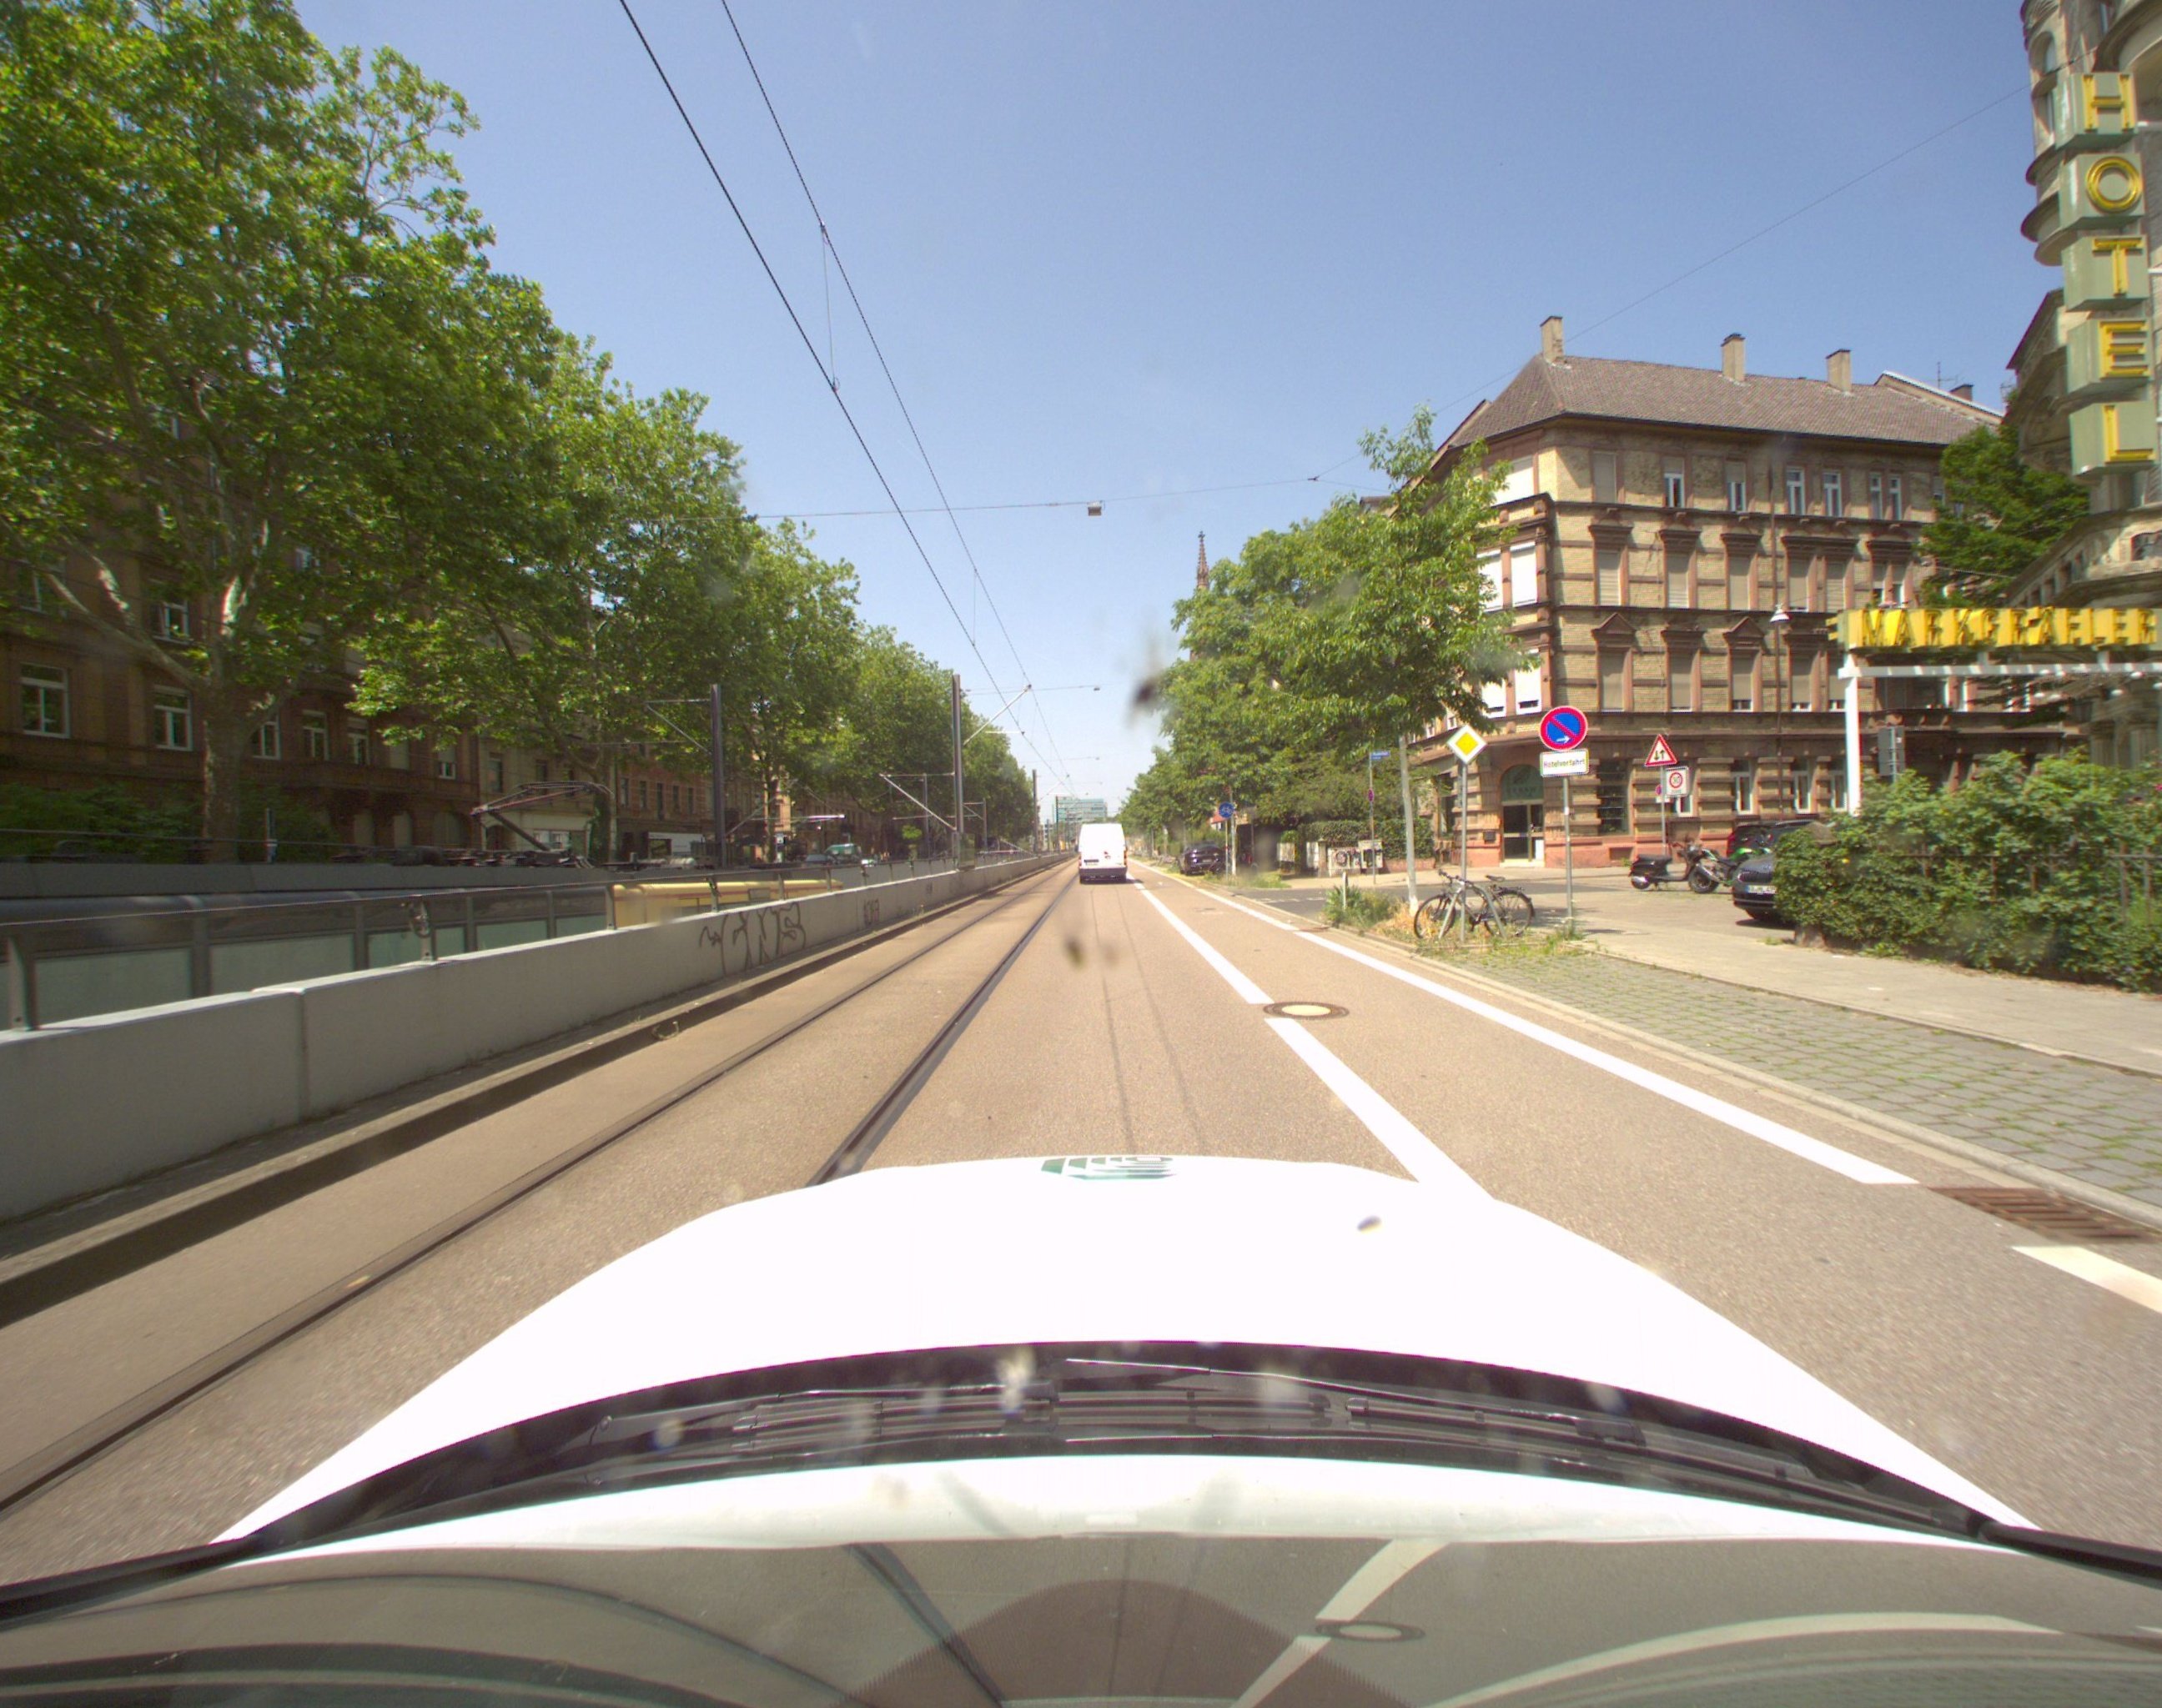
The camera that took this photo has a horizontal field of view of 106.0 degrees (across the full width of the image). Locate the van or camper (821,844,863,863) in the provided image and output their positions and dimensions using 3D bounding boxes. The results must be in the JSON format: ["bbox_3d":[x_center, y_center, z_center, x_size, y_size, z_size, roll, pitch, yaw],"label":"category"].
[{"bbox_3d":[-26.528,-0.085,90.437,3.976,2.013,1.999,-2,0,-2],"label":"van or camper"}]

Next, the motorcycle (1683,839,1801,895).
[{"bbox_3d":[13.628,0.255,16.853,0.525,1.082,1.862,-2,0,-23],"label":"motorcycle"}]

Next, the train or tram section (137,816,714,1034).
[{"bbox_3d":[-9.640,1.014,13.858,2.719,2.509,8.491,-1,-2,2],"label":"train or tram section"}]

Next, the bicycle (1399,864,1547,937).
[{"bbox_3d":[5.555,0.649,11.599,1.835,0.953,0.503,-2,0,2],"label":"bicycle"}]

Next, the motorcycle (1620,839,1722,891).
[{"bbox_3d":[13.508,0.242,18.715,0.511,1.123,1.870,-2,0,-26],"label":"motorcycle"}]

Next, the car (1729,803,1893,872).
[{"bbox_3d":[23.136,-0.514,25.870,3.988,2.013,1.800,-2,0,-11],"label":"car"}]

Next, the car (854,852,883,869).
[{"bbox_3d":[-22.885,0.642,87.731,1.987,1.684,4.001,-2,0,1],"label":"car"}]

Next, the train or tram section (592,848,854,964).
[{"bbox_3d":[-9.382,1.394,23.199,2.719,2.509,10.090,-1,-3,2],"label":"train or tram section"}]

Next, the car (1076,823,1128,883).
[{"bbox_3d":[0.890,-0.060,36.011,2.110,2.459,5.054,-1,0,0],"label":"car"}]

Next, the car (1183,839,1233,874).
[{"bbox_3d":[6.421,0.103,41.504,2.148,1.670,4.004,-1,0,3],"label":"car"}]

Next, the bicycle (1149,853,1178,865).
[{"bbox_3d":[6.270,0.379,61.669,1.548,0.826,4.016,-1,0,14],"label":"bicycle"}]

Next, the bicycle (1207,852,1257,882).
[{"bbox_3d":[6.133,0.534,33.179,1.882,1.182,0.640,-1,0,-1],"label":"bicycle"}]

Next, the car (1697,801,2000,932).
[{"bbox_3d":[11.093,0.150,11.884,3.122,1.669,1.574,-2,0,-7],"label":"car"}]

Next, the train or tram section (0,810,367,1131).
[{"bbox_3d":[-9.833,0.941,5.566,2.720,2.508,8.004,-1,0,1],"label":"train or tram section"}]
